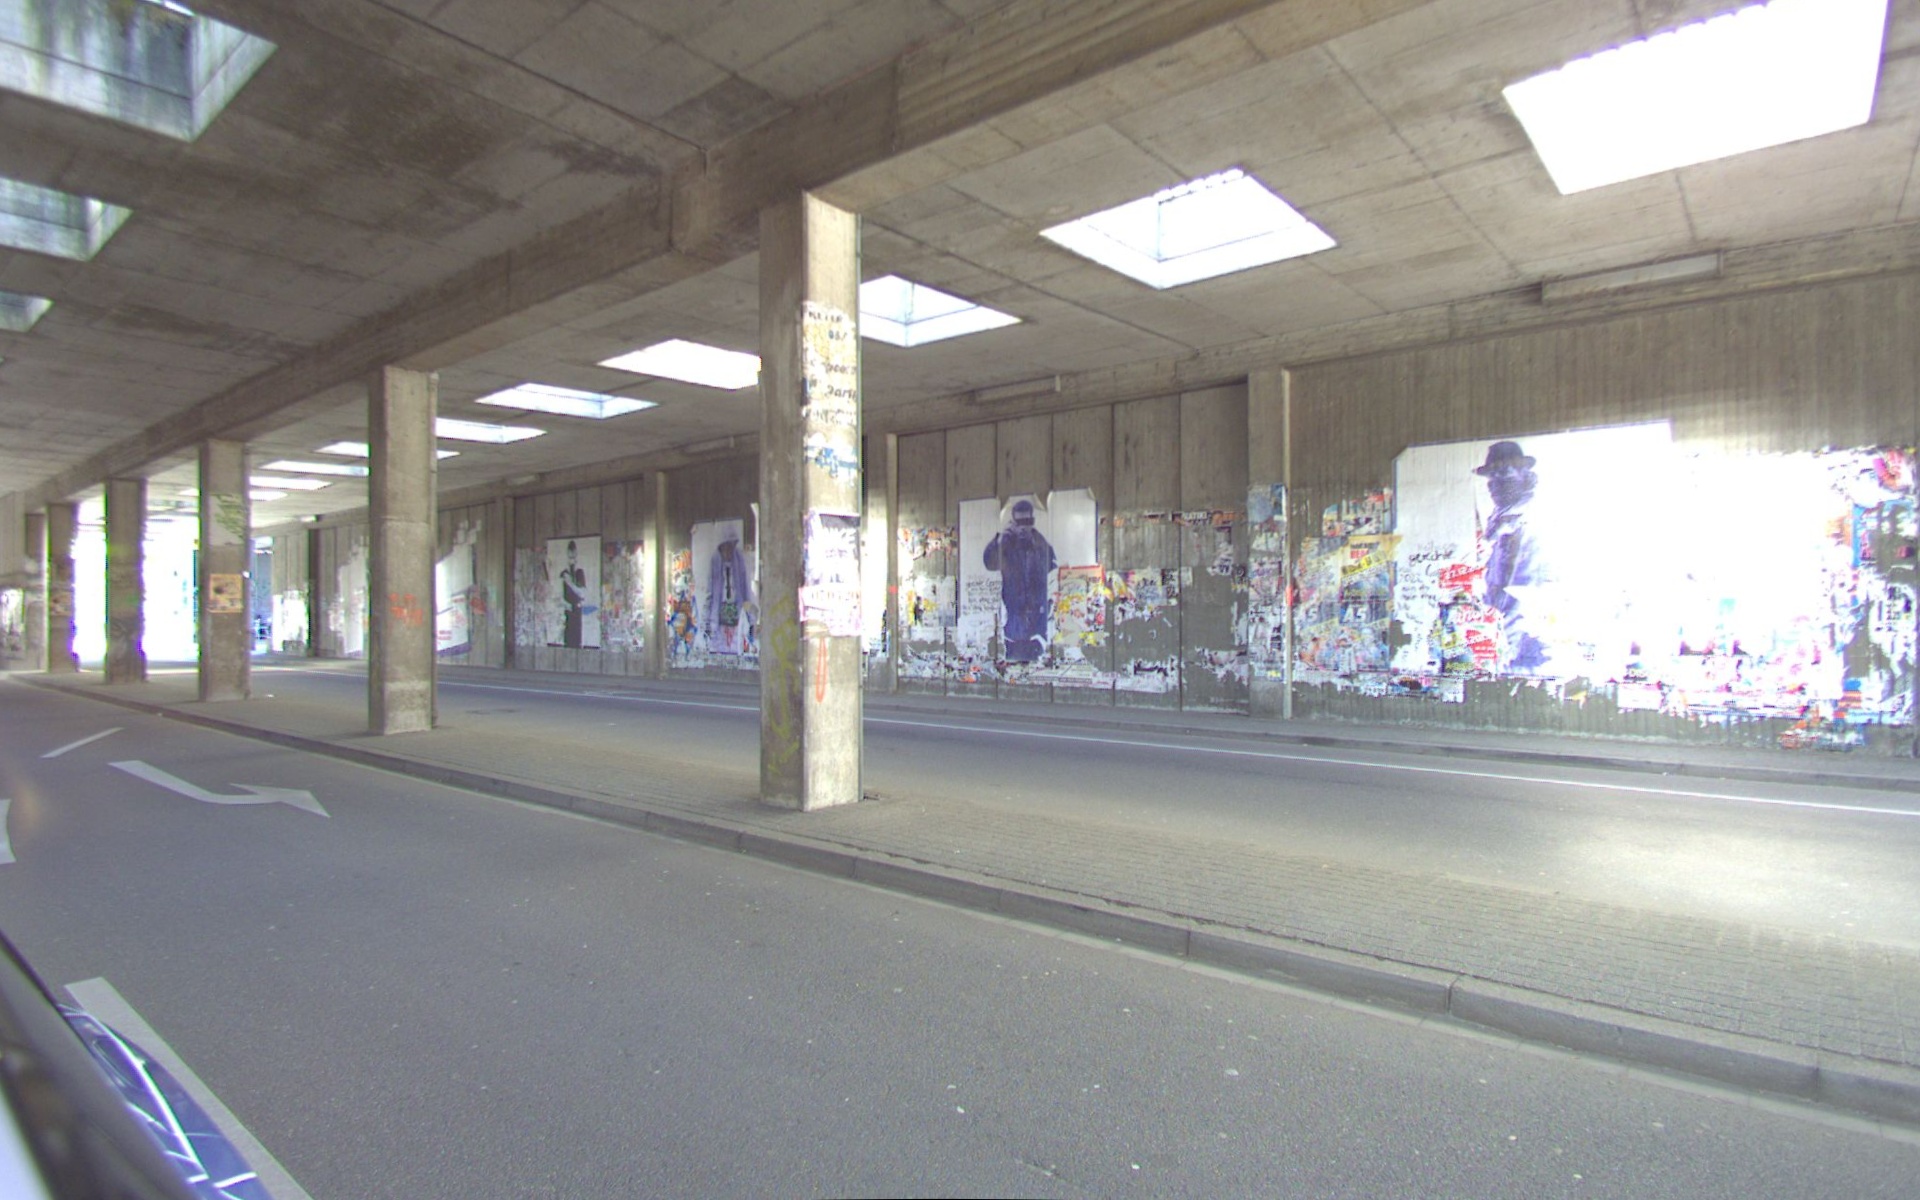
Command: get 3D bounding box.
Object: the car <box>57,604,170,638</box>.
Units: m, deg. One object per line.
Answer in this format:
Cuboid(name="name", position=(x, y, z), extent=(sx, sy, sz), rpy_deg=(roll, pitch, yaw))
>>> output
Cuboid(name="car", position=(-52.702, 1.299, 63.087), extent=(2.359, 2.029, 5.082), rpy_deg=(-1, -2, 39))
